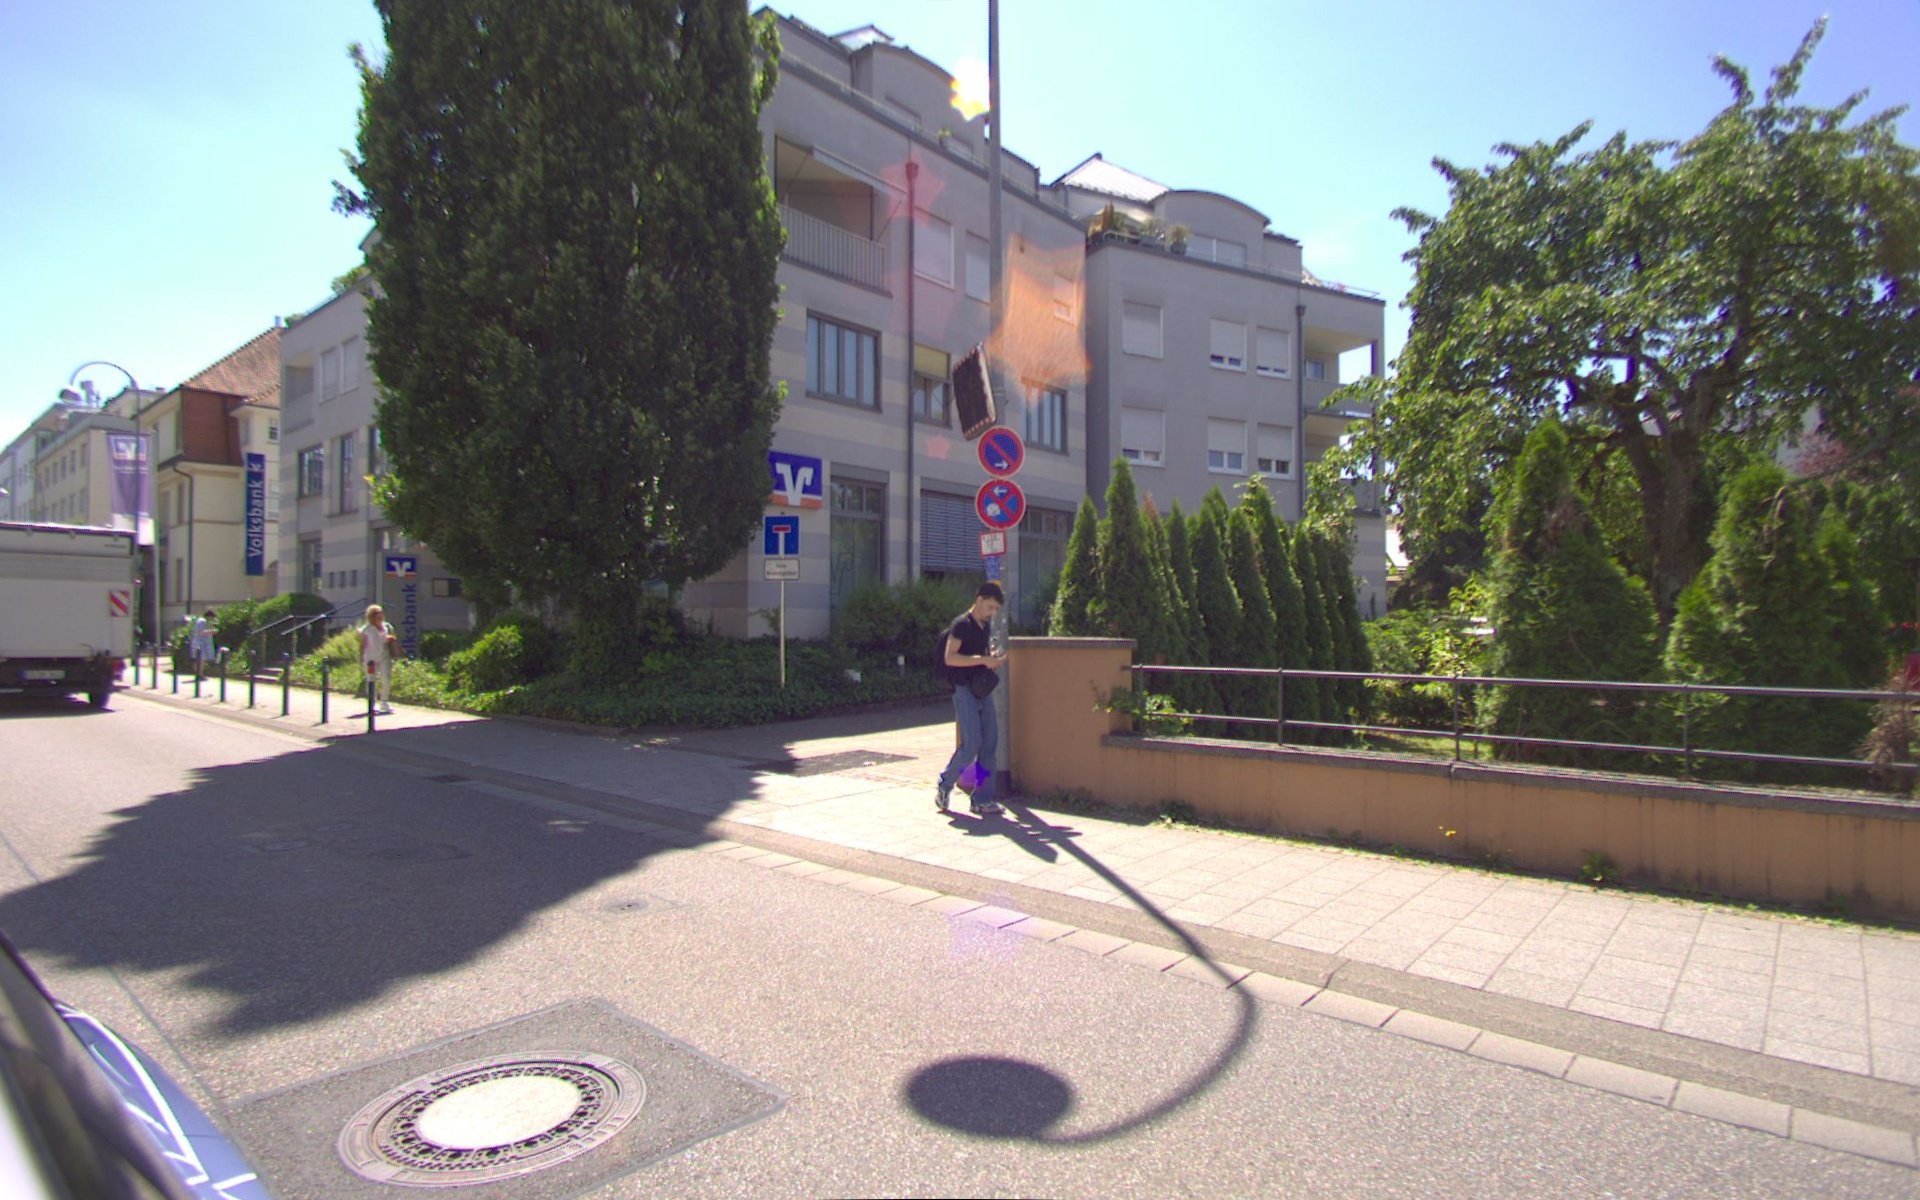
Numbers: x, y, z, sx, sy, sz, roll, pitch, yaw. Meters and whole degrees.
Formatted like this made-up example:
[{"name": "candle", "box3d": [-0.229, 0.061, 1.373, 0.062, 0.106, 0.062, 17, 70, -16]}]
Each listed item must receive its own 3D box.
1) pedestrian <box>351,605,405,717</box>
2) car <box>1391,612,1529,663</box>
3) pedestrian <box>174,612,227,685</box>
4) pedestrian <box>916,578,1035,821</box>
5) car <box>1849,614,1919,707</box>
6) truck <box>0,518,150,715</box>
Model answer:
[{"name": "pedestrian", "box3d": [-9.057, 0.926, 15.745, 0.708, 1.698, 0.531, -1, -1, 41]}, {"name": "car", "box3d": [15.422, 1.124, 31.396, 1.473, 1.493, 3.624, 0, -1, -31]}, {"name": "pedestrian", "box3d": [-17.896, 1.118, 23.844, 0.751, 1.657, 0.836, -1, 1, 43]}, {"name": "pedestrian", "box3d": [0.112, 0.704, 7.523, 0.708, 1.698, 0.531, -1, -1, 41]}, {"name": "car", "box3d": [16.151, 0.927, 15.641, 3.408, 1.431, 1.697, -1, -1, 35]}, {"name": "truck", "box3d": [-16.629, 0.325, 17.956, 6.255, 3.006, 2.394, -1, -3, 41]}]
